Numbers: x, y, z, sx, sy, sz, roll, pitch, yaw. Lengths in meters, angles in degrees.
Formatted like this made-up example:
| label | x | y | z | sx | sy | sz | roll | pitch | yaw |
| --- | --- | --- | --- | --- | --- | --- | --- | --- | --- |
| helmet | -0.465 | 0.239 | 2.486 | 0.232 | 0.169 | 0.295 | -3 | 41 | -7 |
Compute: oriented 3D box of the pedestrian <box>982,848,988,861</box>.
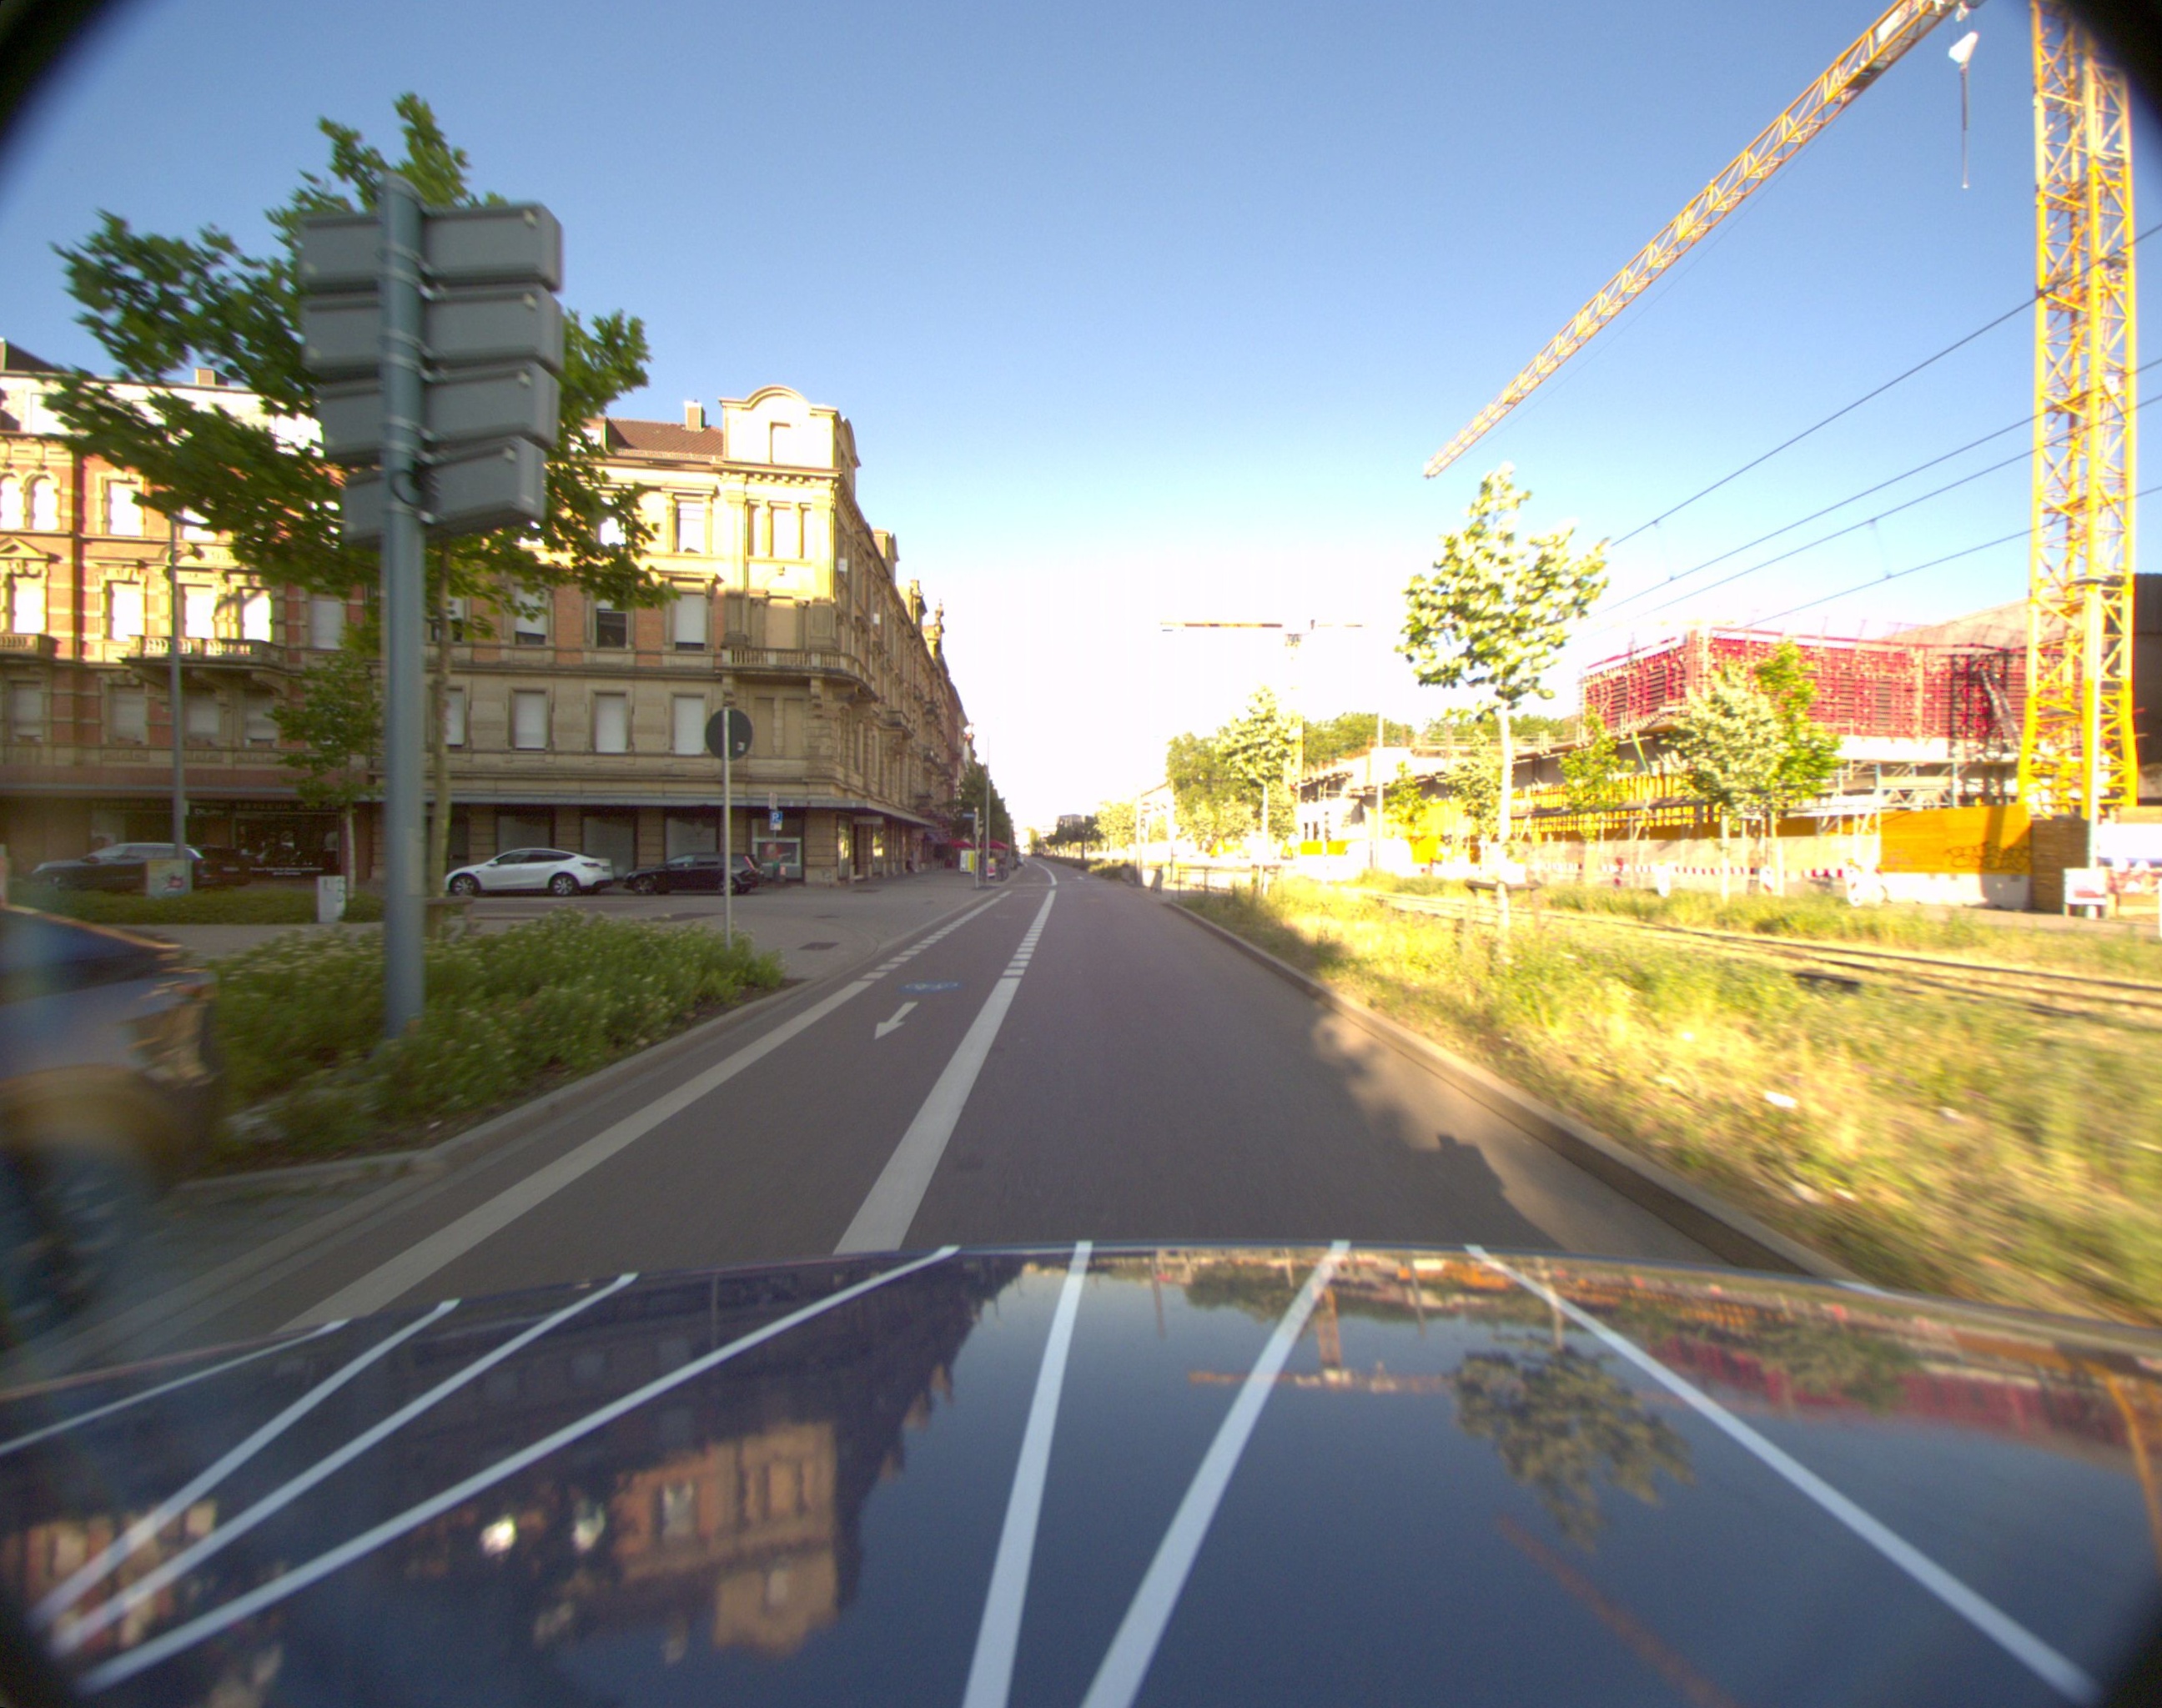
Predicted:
| label | x | y | z | sx | sy | sz | roll | pitch | yaw |
| --- | --- | --- | --- | --- | --- | --- | --- | --- | --- |
| pedestrian | -13.563 | 0.030 | 107.206 | 0.749 | 1.744 | 1.071 | 1 | 1 | -4 |

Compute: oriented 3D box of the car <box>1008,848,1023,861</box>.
| label | x | y | z | sx | sy | sz | roll | pitch | yaw |
| --- | --- | --- | --- | --- | --- | --- | --- | --- | --- |
| car | -8.669 | 0.048 | 100.223 | 1.854 | 1.555 | 4.295 | 2 | 0 | -4 |

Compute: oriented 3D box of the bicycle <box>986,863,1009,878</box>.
| label | x | y | z | sx | sy | sz | roll | pitch | yaw |
| --- | --- | --- | --- | --- | --- | --- | --- | --- | --- |
| bicycle | -5.038 | 0.994 | 45.747 | 1.277 | 0.872 | 0.507 | 3 | 1 | 2 |

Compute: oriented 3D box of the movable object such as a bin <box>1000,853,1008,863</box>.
| label | x | y | z | sx | sy | sz | roll | pitch | yaw |
| --- | --- | --- | --- | --- | --- | --- | --- | --- | --- |
| movable object such as a bin | -8.116 | 0.424 | 79.886 | 0.676 | 0.919 | 0.561 | 4 | 2 | 16 |

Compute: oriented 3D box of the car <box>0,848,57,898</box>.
| label | x | y | z | sx | sy | sz | roll | pitch | yaw |
| --- | --- | --- | --- | --- | --- | --- | --- | --- | --- |
| car | -34.574 | 0.576 | 22.941 | 4.206 | 1.474 | 1.861 | 0 | 2 | -9 |

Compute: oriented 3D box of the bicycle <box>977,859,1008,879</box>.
| label | x | y | z | sx | sy | sz | roll | pitch | yaw |
| --- | --- | --- | --- | --- | --- | --- | --- | --- | --- |
| bicycle | -5.159 | 0.868 | 44.292 | 1.725 | 1.098 | 0.507 | 3 | 1 | 2 |

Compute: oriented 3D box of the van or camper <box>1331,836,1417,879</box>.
| label | x | y | z | sx | sy | sz | roll | pitch | yaw |
| --- | --- | --- | --- | --- | --- | --- | --- | --- | --- |
| van or camper | 18.681 | 0.224 | 48.964 | 2.228 | 2.495 | 7.198 | 2 | 0 | -4 |

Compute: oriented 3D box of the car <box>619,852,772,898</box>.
| label | x | y | z | sx | sy | sz | roll | pitch | yaw |
| --- | --- | --- | --- | --- | --- | --- | --- | --- | --- |
| car | -13.089 | 0.680 | 26.033 | 4.275 | 1.442 | 1.861 | 0 | 2 | -9 |

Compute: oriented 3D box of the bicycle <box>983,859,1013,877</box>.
| label | x | y | z | sx | sy | sz | roll | pitch | yaw |
| --- | --- | --- | --- | --- | --- | --- | --- | --- | --- |
| bicycle | -5.321 | 0.883 | 48.897 | 1.809 | 1.041 | 0.566 | 3 | 1 | 2 |

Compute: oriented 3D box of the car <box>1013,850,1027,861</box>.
| label | x | y | z | sx | sy | sz | roll | pitch | yaw |
| --- | --- | --- | --- | --- | --- | --- | --- | --- | --- |
| car | -8.640 | 0.240 | 107.158 | 1.854 | 1.445 | 5.249 | 2 | 0 | -6 |

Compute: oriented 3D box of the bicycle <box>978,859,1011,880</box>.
| label | x | y | z | sx | sy | sz | roll | pitch | yaw |
| --- | --- | --- | --- | --- | --- | --- | --- | --- | --- |
| bicycle | -4.913 | 0.885 | 43.023 | 1.758 | 1.098 | 0.507 | 3 | 1 | 2 |

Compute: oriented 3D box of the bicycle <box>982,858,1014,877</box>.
| label | x | y | z | sx | sy | sz | roll | pitch | yaw |
| --- | --- | --- | --- | --- | --- | --- | --- | --- | --- |
| bicycle | -5.186 | 0.830 | 47.390 | 1.848 | 1.098 | 0.566 | 3 | 1 | 2 |

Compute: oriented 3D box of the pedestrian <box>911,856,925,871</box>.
| label | x | y | z | sx | sy | sz | roll | pitch | yaw |
| --- | --- | --- | --- | --- | --- | --- | --- | --- | --- |
| pedestrian | -11.041 | 0.627 | 51.394 | 0.816 | 0.957 | 0.804 | 0 | 1 | -2 |

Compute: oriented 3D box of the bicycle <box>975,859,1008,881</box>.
| label | x | y | z | sx | sy | sz | roll | pitch | yaw |
| --- | --- | --- | --- | --- | --- | --- | --- | --- | --- |
| bicycle | -4.982 | 0.896 | 42.434 | 1.758 | 1.098 | 0.507 | 3 | 1 | 2 |

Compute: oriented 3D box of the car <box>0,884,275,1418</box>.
| label | x | y | z | sx | sy | sz | roll | pitch | yaw |
| --- | --- | --- | --- | --- | --- | --- | --- | --- | --- |
| car | -4.201 | 0.932 | 0.760 | 1.937 | 1.589 | 4.697 | 2 | 0 | -3 |

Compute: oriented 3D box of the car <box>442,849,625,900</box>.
| label | x | y | z | sx | sy | sz | roll | pitch | yaw |
| --- | --- | --- | --- | --- | --- | --- | --- | --- | --- |
| car | -18.032 | 0.635 | 25.247 | 4.555 | 1.586 | 1.861 | 0 | 2 | -9 |

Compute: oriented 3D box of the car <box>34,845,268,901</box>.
| label | x | y | z | sx | sy | sz | roll | pitch | yaw |
| --- | --- | --- | --- | --- | --- | --- | --- | --- | --- |
| car | -28.858 | 0.540 | 23.742 | 4.454 | 1.615 | 1.875 | 0 | 2 | -9 |
